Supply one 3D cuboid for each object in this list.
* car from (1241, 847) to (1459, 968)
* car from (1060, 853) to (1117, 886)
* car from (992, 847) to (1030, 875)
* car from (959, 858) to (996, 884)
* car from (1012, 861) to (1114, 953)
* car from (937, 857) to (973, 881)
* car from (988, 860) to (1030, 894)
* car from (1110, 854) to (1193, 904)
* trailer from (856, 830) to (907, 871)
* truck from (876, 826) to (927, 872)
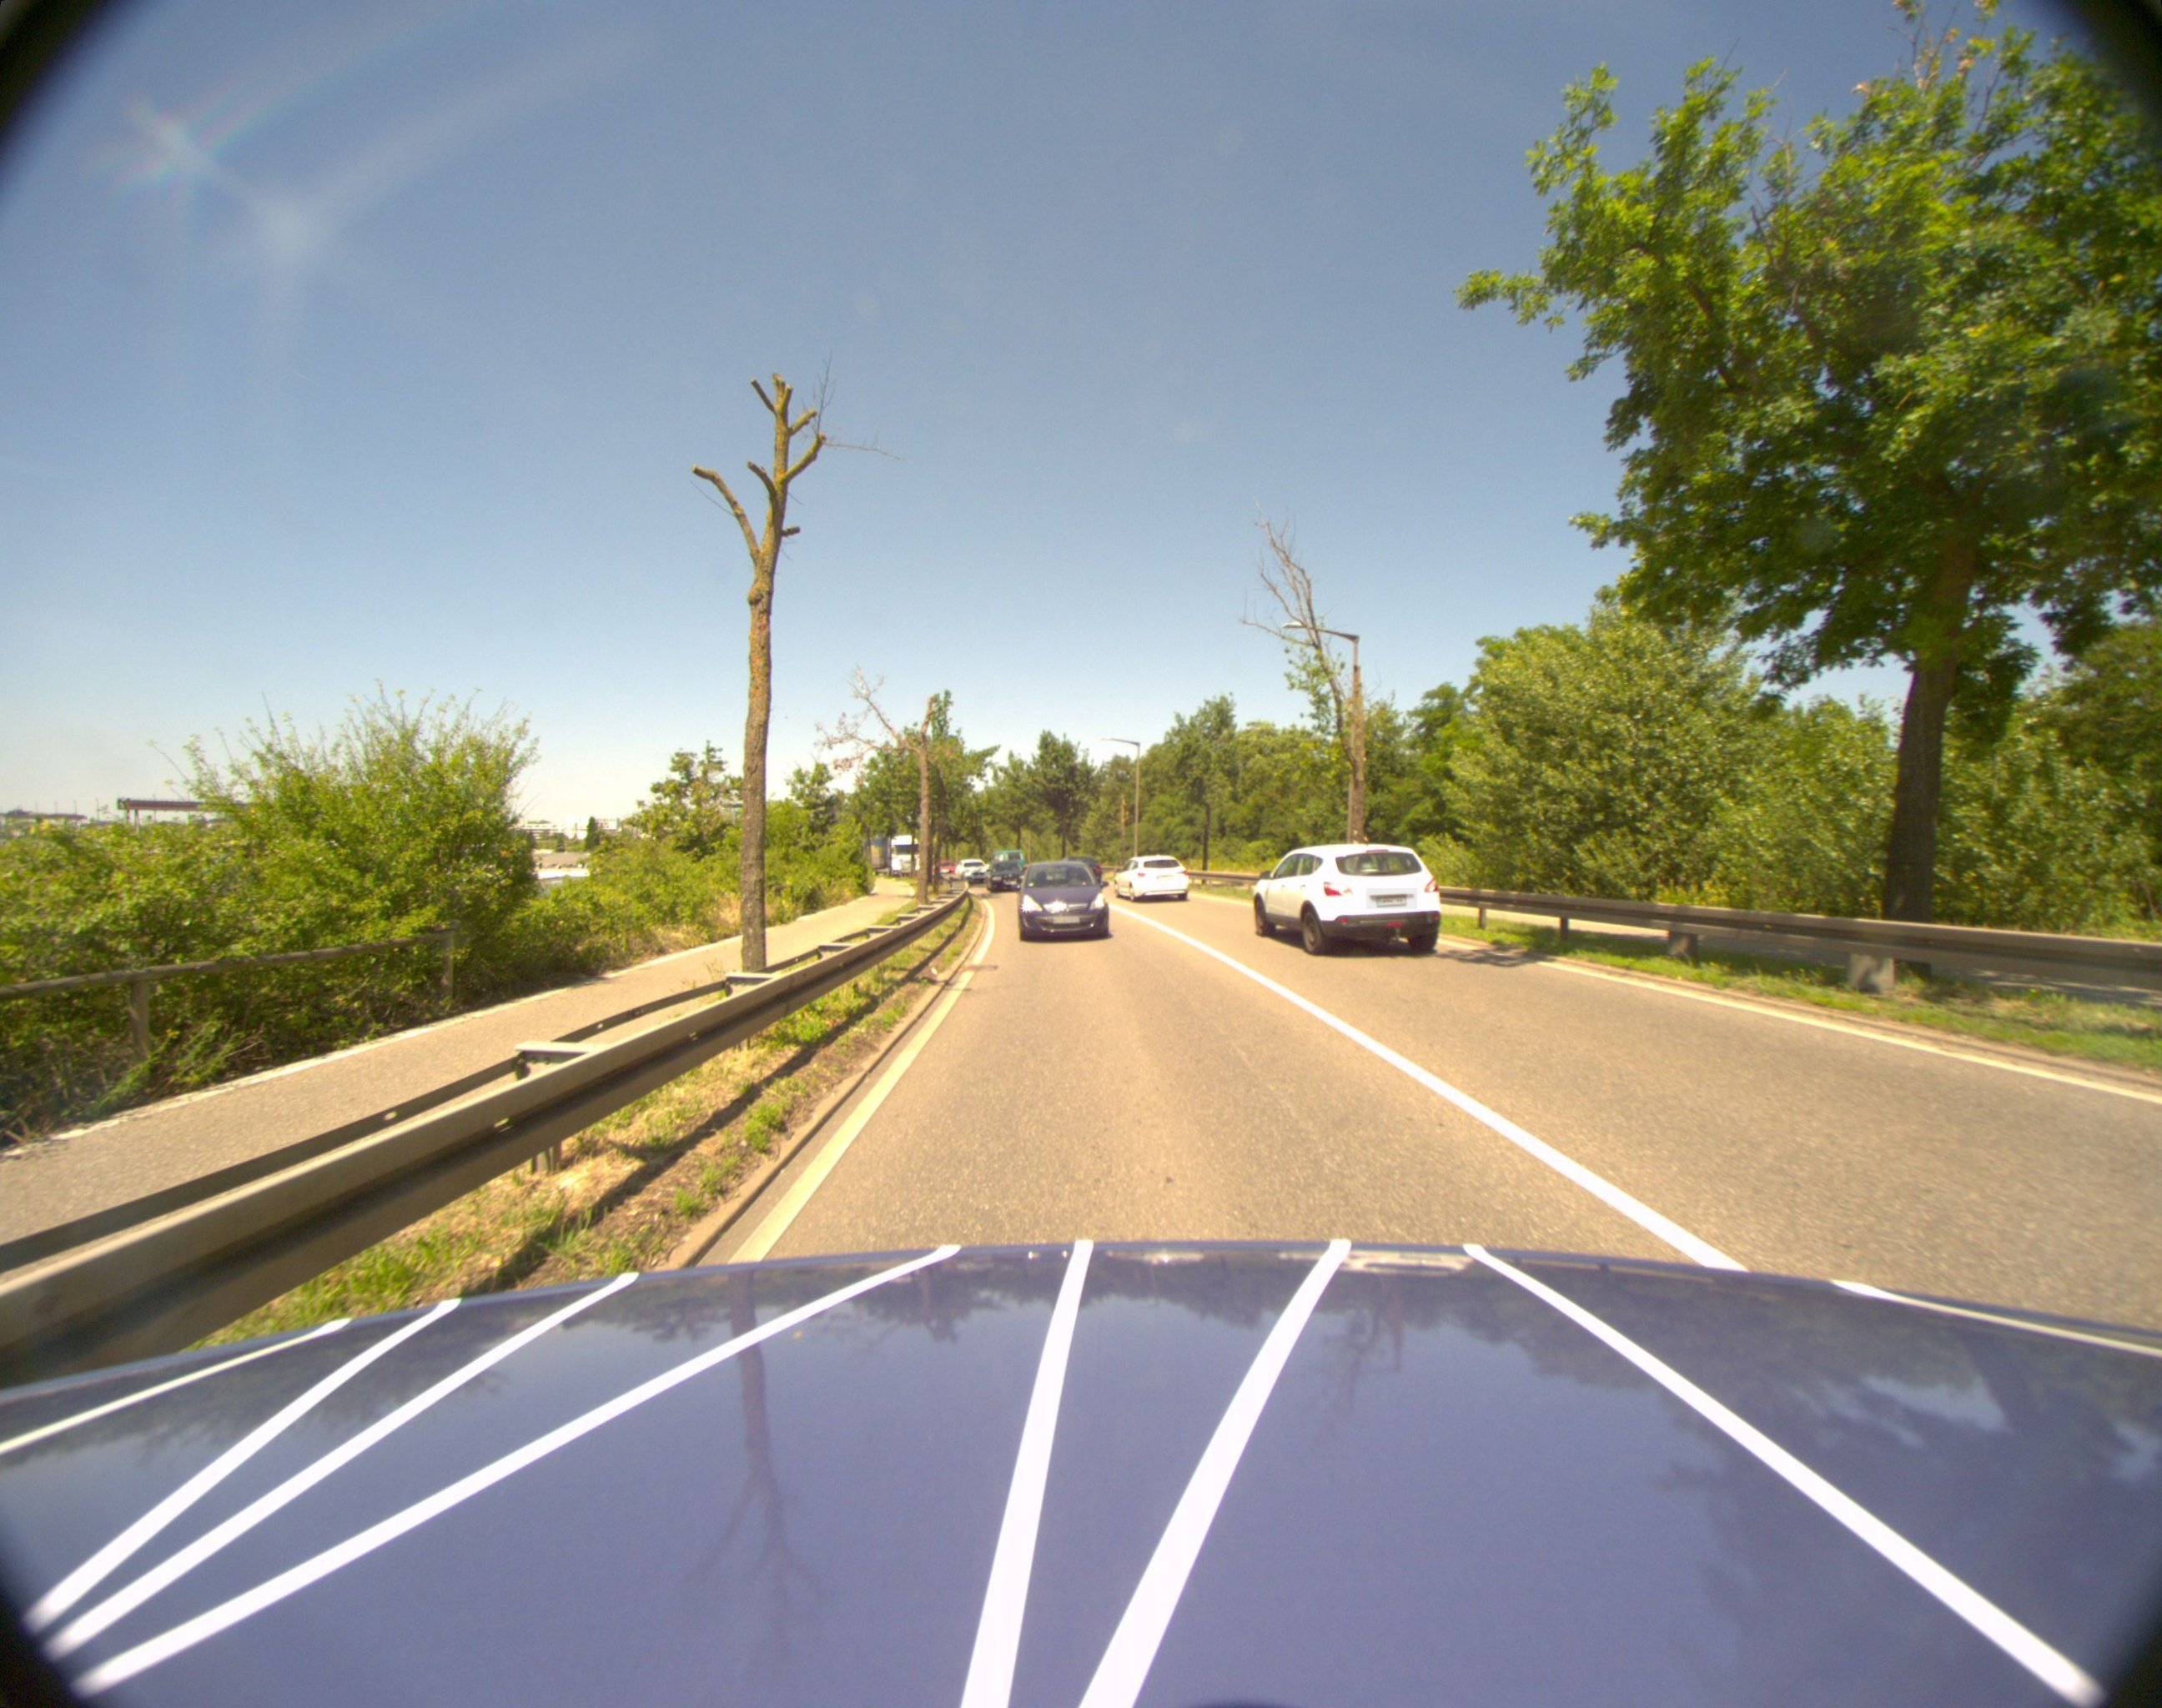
[{"bbox_3d":[4.042,0.699,12.280,1.751,1.537,4.391,-2,0,-3],"label":"car"},{"bbox_3d":[0.303,0.733,37.648,1.852,1.459,4.736,-2,0,-11],"label":"car"},{"bbox_3d":[-5.307,0.520,57.027,1.837,1.927,4.768,-2,0,-17],"label":"car"},{"bbox_3d":[-6.381,1.017,46.488,1.818,1.420,3.710,-2,0,-14],"label":"car"},{"bbox_3d":[-0.452,0.938,15.276,1.699,1.459,4.381,-2,0,-4],"label":"car"},{"bbox_3d":[-9.901,1.153,59.517,1.903,1.645,4.249,-2,2,-20],"label":"car"},{"bbox_3d":[-3.392,1.015,35.119,1.570,1.408,4.118,-2,0,-10],"label":"car"},{"bbox_3d":[2.235,0.750,25.343,1.706,1.438,4.456,-2,0,-9],"label":"car"},{"bbox_3d":[-22.754,-0.325,85.957,2.886,4.189,13.979,-2,0,-25],"label":"trailer"},{"bbox_3d":[-18.075,-0.450,76.143,2.863,4.244,8.797,-2,1,-26],"label":"truck"}]
